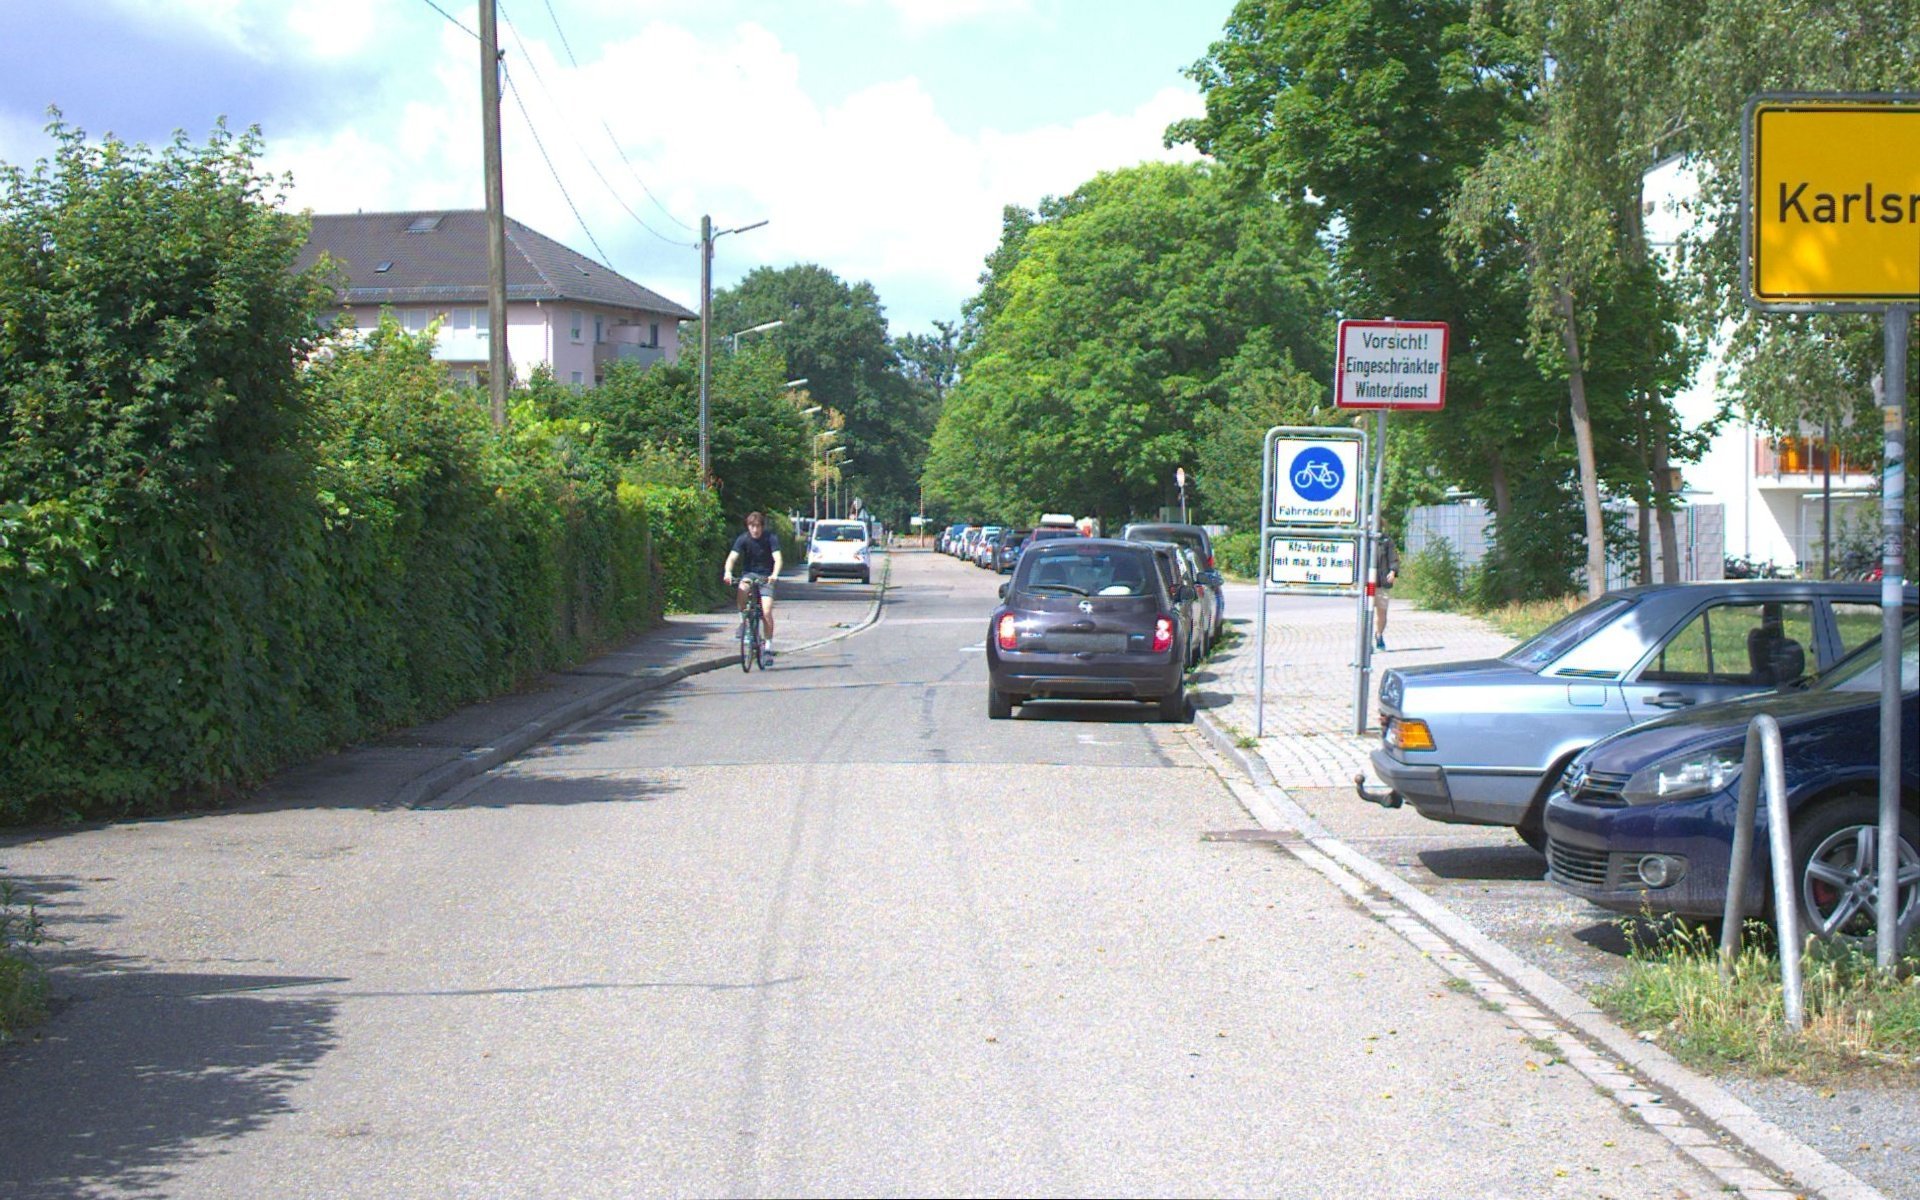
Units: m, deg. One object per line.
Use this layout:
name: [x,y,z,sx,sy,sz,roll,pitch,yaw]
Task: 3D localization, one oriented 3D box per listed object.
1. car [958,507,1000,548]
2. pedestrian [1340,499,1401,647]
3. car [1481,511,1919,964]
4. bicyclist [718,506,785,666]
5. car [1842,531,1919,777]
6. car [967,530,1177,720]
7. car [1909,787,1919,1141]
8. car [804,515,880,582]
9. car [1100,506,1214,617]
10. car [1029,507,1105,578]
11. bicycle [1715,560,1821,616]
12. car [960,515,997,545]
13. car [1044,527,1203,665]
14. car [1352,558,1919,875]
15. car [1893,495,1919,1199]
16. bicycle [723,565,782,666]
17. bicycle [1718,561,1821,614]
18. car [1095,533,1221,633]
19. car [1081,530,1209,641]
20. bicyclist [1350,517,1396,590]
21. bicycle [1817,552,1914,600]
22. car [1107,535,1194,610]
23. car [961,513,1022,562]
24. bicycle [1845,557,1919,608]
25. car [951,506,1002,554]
car: [0.989,-3.744,177.773,1.993,2.007,4.000,1,1,-2]
pedestrian: [4.910,-0.329,41.105,0.610,1.739,0.721,2,1,13]
car: [4.122,0.501,12.993,3.932,1.554,1.868,1,1,-2]
bicyclist: [-2.452,-0.171,40.543,0.659,1.846,1.043,-1,1,1]
car: [7.678,0.253,20.691,4.240,1.425,1.759,-2,1,-1]
car: [1.038,0.171,29.999,1.663,1.501,4.000,2,1,4]
car: [4.289,0.660,8.075,3.573,1.544,1.667,1,1,-4]
car: [-3.345,-1.480,98.207,1.903,1.808,4.000,2,1,1]
car: [3.417,-0.676,59.435,1.874,1.800,3.432,2,1,4]
car: [3.043,-1.636,98.261,2.058,1.919,4.541,2,1,1]
bicycle: [16.983,-0.252,72.299,2.089,1.115,0.625,-1,1,4]
car: [1.044,-3.893,192.529,1.852,1.612,4.000,2,1,4]
car: [2.018,-0.080,41.497,1.664,1.547,3.636,2,1,6]
car: [4.079,0.506,16.102,4.359,1.387,1.718,0,1,3]
car: [3.920,0.682,5.083,4.548,1.573,1.809,1,1,-2]
bicycle: [-2.446,0.168,40.654,0.518,1.146,1.827,-1,1,1]
bicycle: [17.364,-0.274,73.787,2.047,1.076,0.688,-1,1,3]
car: [2.975,-0.282,52.228,1.663,1.430,3.542,2,1,0]
car: [2.576,-0.221,47.524,1.663,1.434,3.744,2,1,4]
bicyclist: [10.327,-1.164,86.012,0.786,1.779,0.892,2,1,31]
bicycle: [20.899,-0.556,79.370,2.047,1.076,0.688,-1,1,3]
car: [4.022,-0.599,73.113,1.679,1.514,4.000,2,1,1]
car: [1.149,-2.230,122.828,2.058,1.646,4.541,2,1,1]
bicycle: [20.791,-0.396,76.430,2.047,1.076,0.688,-1,1,3]
car: [0.736,-3.002,147.993,2.058,1.955,4.541,2,1,1]
